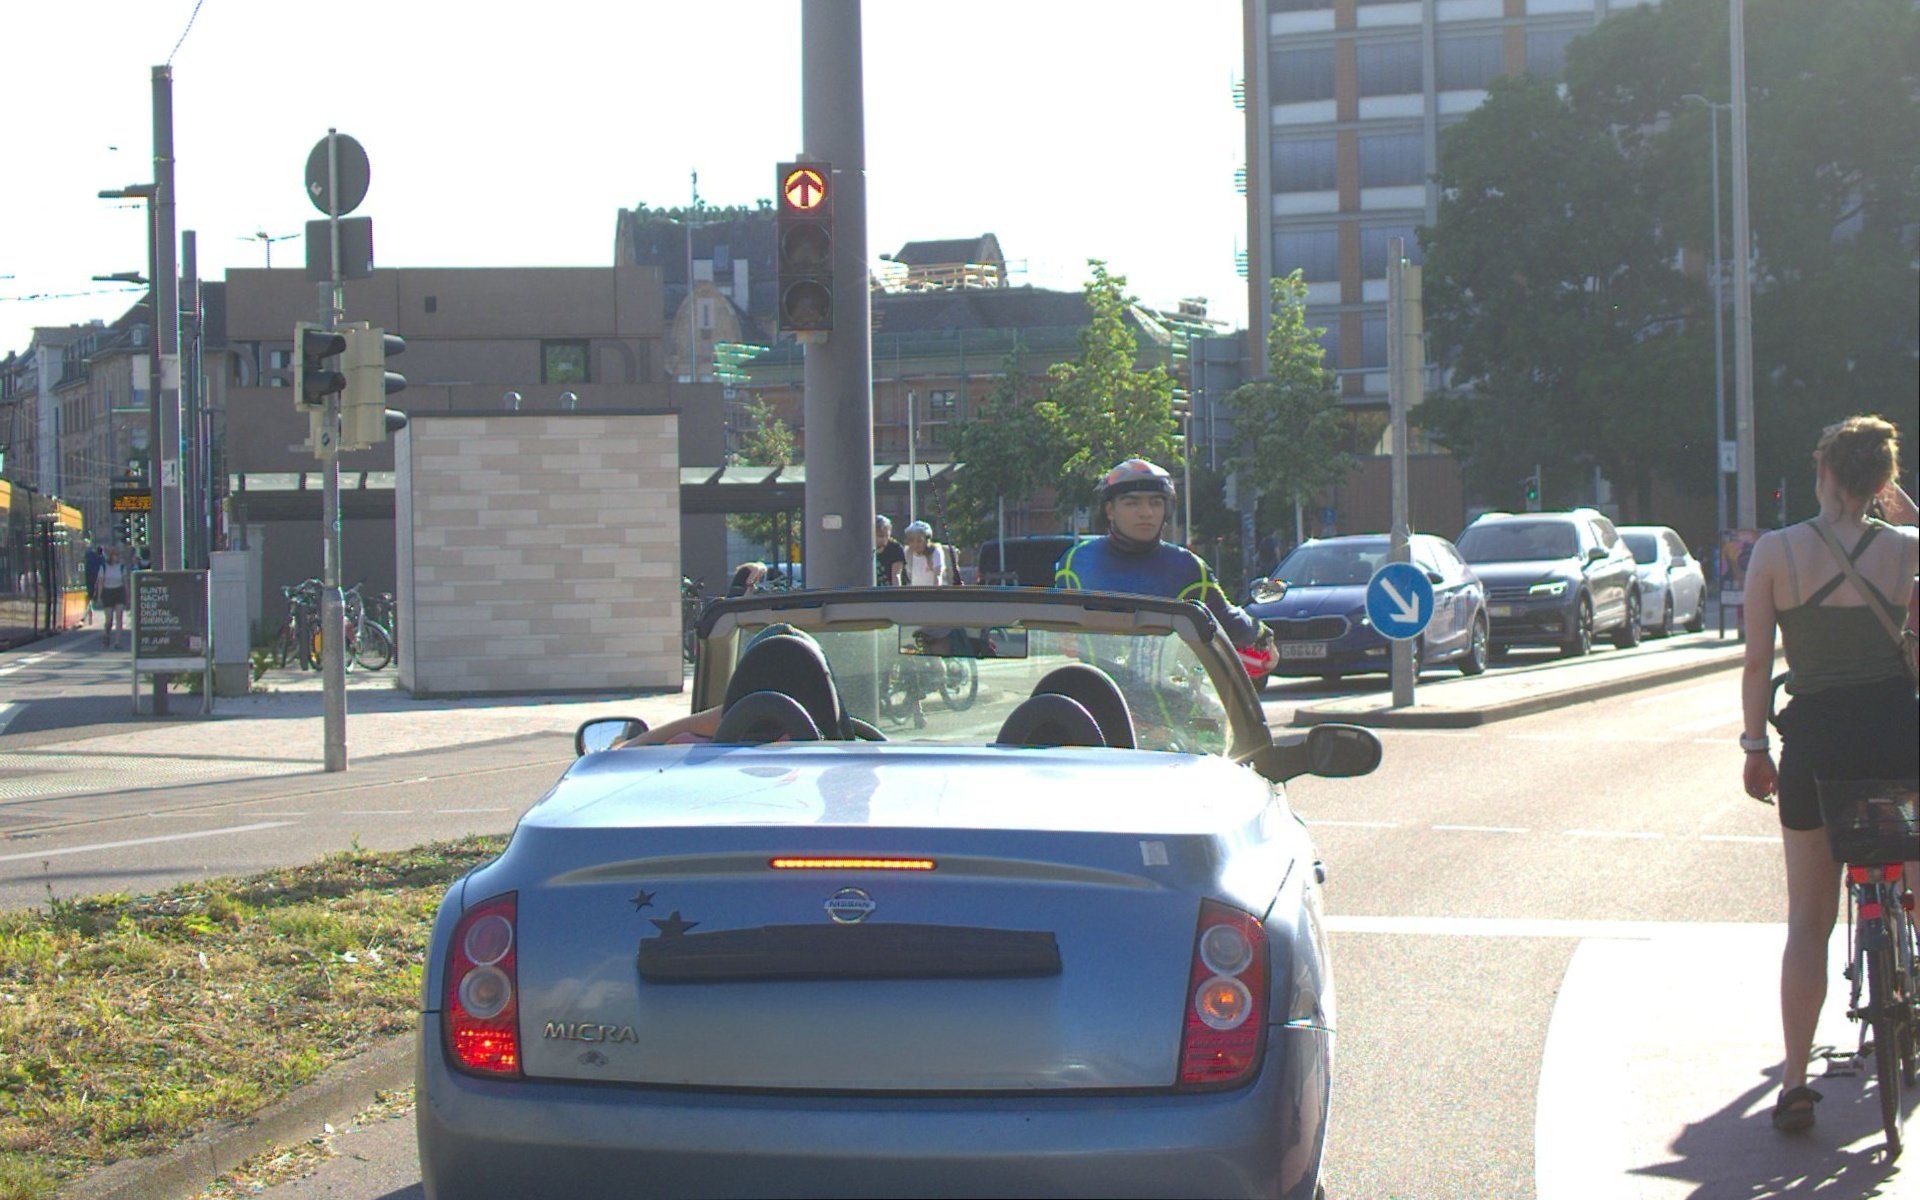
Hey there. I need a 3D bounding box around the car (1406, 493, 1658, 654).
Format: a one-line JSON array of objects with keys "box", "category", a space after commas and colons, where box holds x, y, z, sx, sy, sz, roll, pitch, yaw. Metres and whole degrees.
[{"box": [6.672, -0.332, 39.724, 1.763, 1.700, 4.525, -2, 0, 24], "category": "car"}]

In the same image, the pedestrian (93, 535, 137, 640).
[{"box": [-14.100, -0.211, 57.364, 0.637, 1.743, 0.572, -1, 1, -19], "category": "pedestrian"}]

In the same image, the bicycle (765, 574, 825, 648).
[{"box": [-2.561, 0.162, 53.243, 0.606, 1.111, 1.897, 1, 1, -12], "category": "bicycle"}]

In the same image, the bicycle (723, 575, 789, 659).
[{"box": [-2.807, 0.224, 47.196, 0.606, 1.111, 1.897, 1, 1, -12], "category": "bicycle"}]

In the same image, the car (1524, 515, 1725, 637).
[{"box": [9.001, -0.347, 46.329, 1.697, 1.555, 3.974, -1, 1, 25], "category": "car"}]

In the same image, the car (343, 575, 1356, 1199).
[{"box": [0.032, 0.677, 7.693, 1.660, 1.436, 4.153, 1, 1, 6], "category": "car"}]

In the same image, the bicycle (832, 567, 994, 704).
[{"box": [-0.407, 0.310, 31.466, 0.675, 1.176, 2.181, -1, 1, 22], "category": "bicycle"}]

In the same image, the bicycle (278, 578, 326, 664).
[{"box": [-8.799, 0.275, 45.995, 0.606, 1.111, 1.897, 1, 1, -11], "category": "bicycle"}]

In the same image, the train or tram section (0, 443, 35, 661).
[{"box": [-18.166, -0.852, 60.680, 2.880, 3.584, 12.203, 1, 1, -12], "category": "train or tram section"}]

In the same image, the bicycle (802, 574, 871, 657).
[{"box": [-1.720, 0.203, 47.584, 0.606, 1.111, 1.897, 1, 1, -12], "category": "bicycle"}]

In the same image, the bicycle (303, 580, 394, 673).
[{"box": [-7.545, 0.317, 42.465, 0.607, 1.111, 1.896, 1, 1, 5], "category": "bicycle"}]

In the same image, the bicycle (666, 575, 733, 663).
[{"box": [-3.430, 0.237, 45.123, 0.606, 1.111, 1.897, 1, 1, -12], "category": "bicycle"}]

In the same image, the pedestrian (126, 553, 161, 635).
[{"box": [-17.562, -0.132, 73.929, 0.637, 1.743, 0.736, -1, 1, -19], "category": "pedestrian"}]

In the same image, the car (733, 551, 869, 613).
[{"box": [-4.121, -0.457, 88.688, 1.640, 1.555, 3.599, -2, 1, -39], "category": "car"}]

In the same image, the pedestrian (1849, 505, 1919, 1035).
[{"box": [3.133, 0.511, 10.814, 0.588, 1.593, 1.024, 1, 0, 17], "category": "pedestrian"}]

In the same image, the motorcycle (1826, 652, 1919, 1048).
[{"box": [3.173, 0.746, 11.079, 0.614, 1.094, 2.358, 1, 1, 17], "category": "motorcycle"}]

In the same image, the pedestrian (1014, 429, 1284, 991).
[{"box": [0.673, 0.360, 11.965, 0.833, 1.862, 0.920, 1, 0, 8], "category": "pedestrian"}]

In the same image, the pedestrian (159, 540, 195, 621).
[{"box": [-16.977, -0.428, 74.550, 0.637, 1.743, 0.736, -1, 1, -19], "category": "pedestrian"}]

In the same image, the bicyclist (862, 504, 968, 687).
[{"box": [-0.408, -0.046, 31.487, 0.709, 1.651, 0.742, -1, 1, 22], "category": "bicyclist"}]

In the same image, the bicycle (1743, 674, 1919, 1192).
[{"box": [2.368, 0.798, 8.977, 0.564, 1.147, 1.948, 1, 1, 14], "category": "bicycle"}]

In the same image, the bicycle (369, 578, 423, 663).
[{"box": [-7.628, 0.266, 46.464, 0.606, 1.111, 1.897, 1, 1, -12], "category": "bicycle"}]

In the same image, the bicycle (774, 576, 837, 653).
[{"box": [-2.312, 0.207, 51.272, 0.606, 1.111, 1.897, 1, 1, -12], "category": "bicycle"}]

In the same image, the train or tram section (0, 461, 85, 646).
[{"box": [-20.508, -0.992, 72.670, 3.011, 3.584, 12.203, 1, 1, -10], "category": "train or tram section"}]

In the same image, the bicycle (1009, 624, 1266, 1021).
[{"box": [0.657, 0.699, 11.902, 0.608, 1.187, 2.414, 1, 1, 9], "category": "bicycle"}]

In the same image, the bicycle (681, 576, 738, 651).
[{"box": [-3.874, 0.199, 53.036, 0.606, 1.111, 1.897, 1, 1, -12], "category": "bicycle"}]

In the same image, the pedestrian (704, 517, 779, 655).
[{"box": [-2.980, -0.190, 46.759, 0.900, 1.862, 0.687, 1, 0, -12], "category": "pedestrian"}]

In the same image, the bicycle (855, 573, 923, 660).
[{"box": [-0.946, 0.207, 45.567, 0.606, 1.111, 1.897, 1, 1, -10], "category": "bicycle"}]

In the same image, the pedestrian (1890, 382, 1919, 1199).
[{"box": [2.489, 0.456, 7.397, 0.806, 1.862, 0.956, 1, 0, 8], "category": "pedestrian"}]

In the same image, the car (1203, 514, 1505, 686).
[{"box": [3.915, -0.013, 33.633, 1.739, 1.568, 3.919, 1, 1, 25], "category": "car"}]

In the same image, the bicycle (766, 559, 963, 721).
[{"box": [-0.773, 0.313, 28.852, 0.675, 1.246, 2.454, -3, 0, 22], "category": "bicycle"}]

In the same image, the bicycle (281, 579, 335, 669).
[{"box": [-8.365, 0.300, 44.070, 0.606, 1.111, 1.897, 1, 1, -12], "category": "bicycle"}]

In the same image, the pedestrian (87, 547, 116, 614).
[{"box": [-22.455, -0.511, 89.960, 0.604, 1.743, 0.832, -1, 1, -8], "category": "pedestrian"}]

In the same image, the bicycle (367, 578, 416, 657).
[{"box": [-8.330, 0.244, 50.339, 0.606, 1.111, 1.897, 1, 1, -12], "category": "bicycle"}]

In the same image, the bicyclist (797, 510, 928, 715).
[{"box": [-0.813, 0.098, 28.781, 0.709, 1.651, 0.900, -3, 0, 22], "category": "bicyclist"}]

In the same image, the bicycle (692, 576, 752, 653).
[{"box": [-3.543, 0.210, 51.069, 0.606, 1.111, 1.897, 1, 1, -12], "category": "bicycle"}]

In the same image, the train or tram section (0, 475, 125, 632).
[{"box": [-22.576, -1.140, 84.597, 3.039, 3.584, 12.055, 1, 1, -9], "category": "train or tram section"}]

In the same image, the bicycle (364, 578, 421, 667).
[{"box": [-7.339, 0.278, 44.401, 0.606, 1.111, 1.897, 1, 1, -12], "category": "bicycle"}]

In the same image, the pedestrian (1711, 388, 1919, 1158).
[{"box": [2.286, 0.414, 8.784, 0.659, 1.862, 0.872, 1, 0, 15], "category": "pedestrian"}]

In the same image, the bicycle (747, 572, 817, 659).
[{"box": [-2.356, 0.191, 45.264, 0.606, 1.111, 1.897, 1, 1, -12], "category": "bicycle"}]
